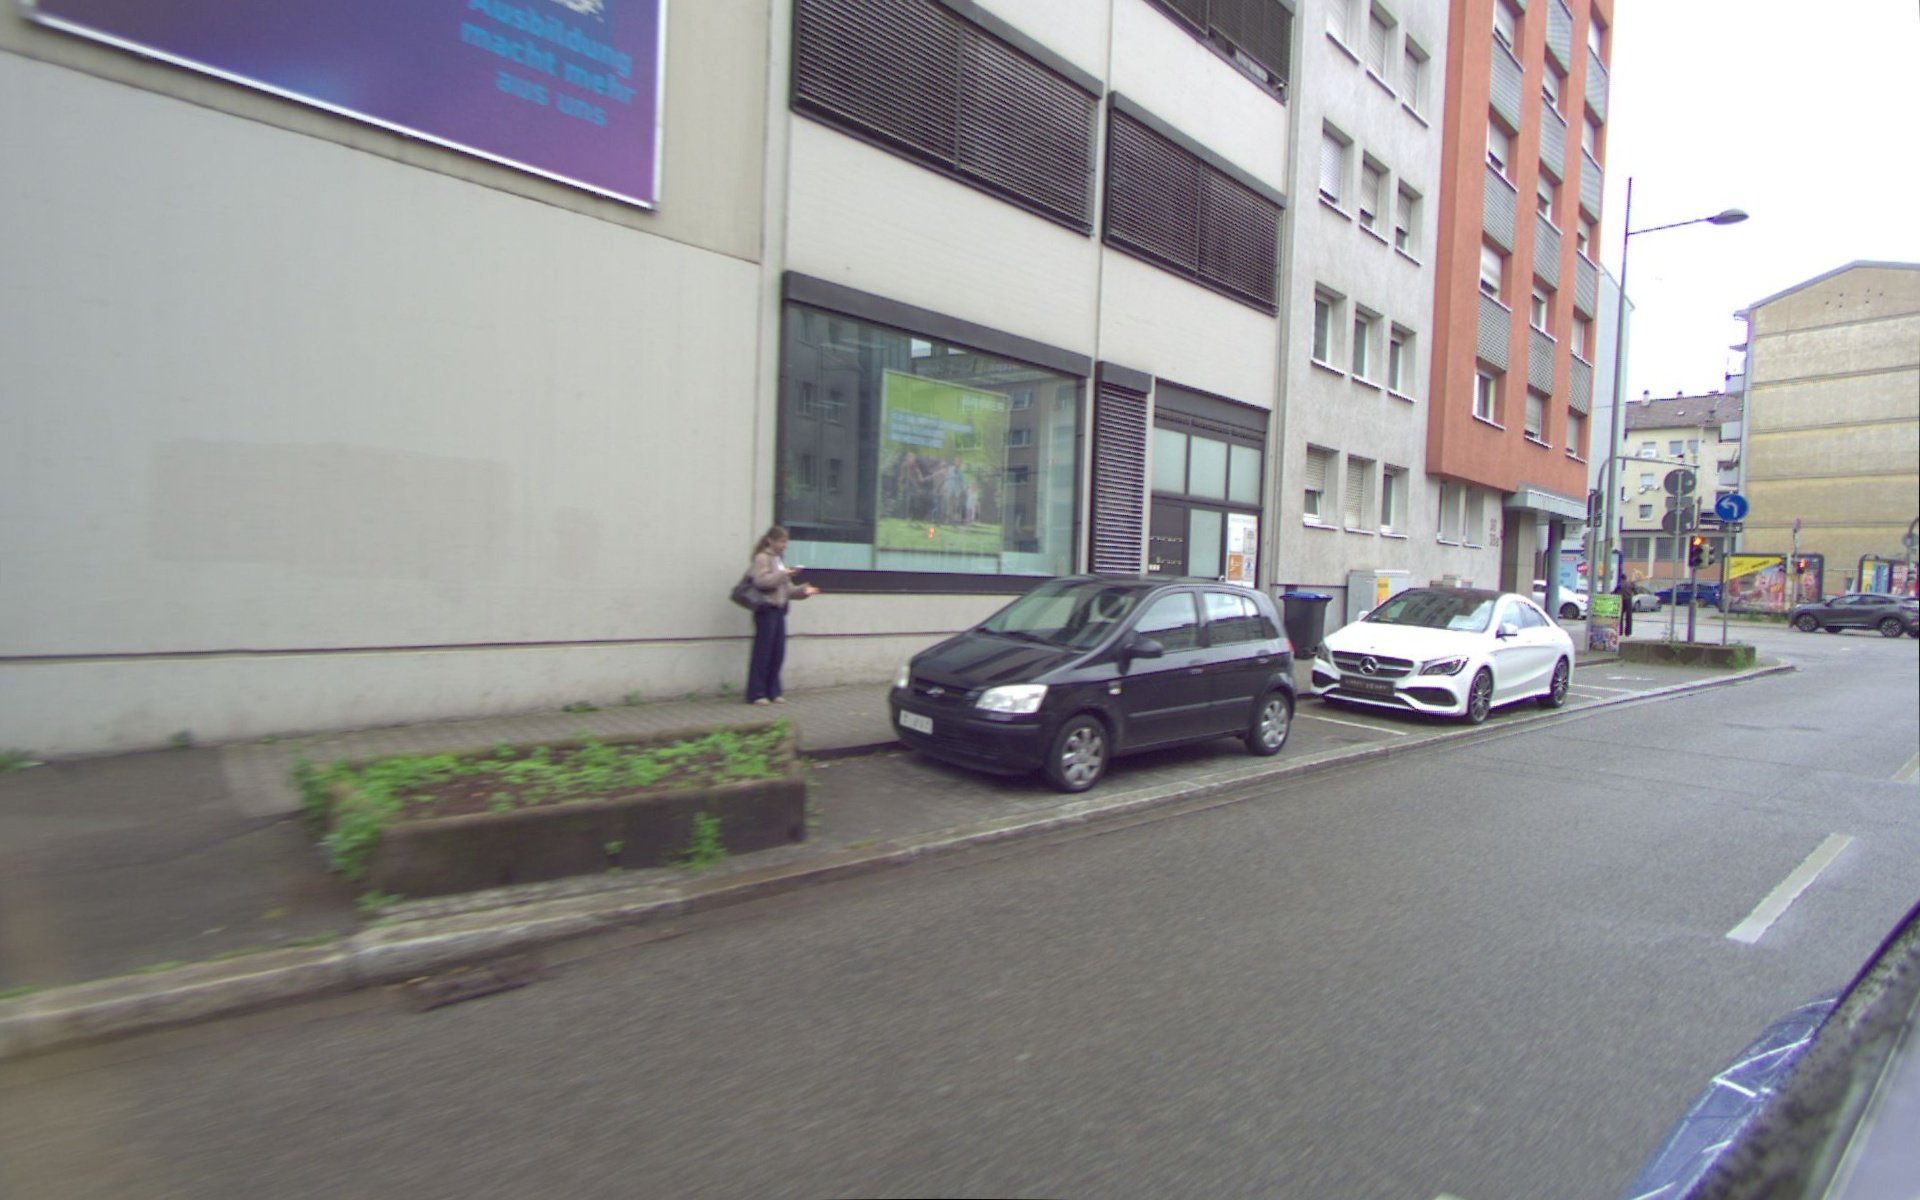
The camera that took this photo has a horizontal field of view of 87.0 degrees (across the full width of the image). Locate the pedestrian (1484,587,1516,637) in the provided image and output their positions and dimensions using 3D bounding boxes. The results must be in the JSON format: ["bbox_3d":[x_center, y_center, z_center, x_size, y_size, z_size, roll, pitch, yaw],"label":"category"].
[{"bbox_3d":[12.816,0.269,24.007,0.536,1.144,0.474,3,2,43],"label":"pedestrian"}]

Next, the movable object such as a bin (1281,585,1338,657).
[{"bbox_3d":[5.693,0.331,16.481,0.505,1.116,0.680,0,2,-42],"label":"movable object such as a bin"}]

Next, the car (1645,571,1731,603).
[{"bbox_3d":[43.520,-0.784,60.582,1.801,1.732,3.801,1,2,-21],"label":"car"}]

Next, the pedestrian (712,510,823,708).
[{"bbox_3d":[-1.738,0.065,9.138,0.598,1.679,0.681,7,5,42],"label":"pedestrian"}]

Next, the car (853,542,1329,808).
[{"bbox_3d":[1.184,0.423,8.084,3.740,1.577,1.705,0,4,-42],"label":"car"}]

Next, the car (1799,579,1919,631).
[{"bbox_3d":[32.683,0.165,35.931,1.798,1.641,4.009,1,2,-23],"label":"car"}]

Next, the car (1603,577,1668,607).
[{"bbox_3d":[36.164,-0.416,54.164,3.672,1.474,1.739,0,2,-37],"label":"car"}]

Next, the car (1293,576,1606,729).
[{"bbox_3d":[6.061,0.504,12.270,4.492,1.437,1.834,0,4,-42],"label":"car"}]

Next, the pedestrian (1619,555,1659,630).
[{"bbox_3d":[20.246,-0.221,30.183,0.797,2.179,0.732,2,2,26],"label":"pedestrian"}]

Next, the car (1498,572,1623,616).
[{"bbox_3d":[24.609,-0.280,41.564,1.802,1.641,4.000,0,3,-36],"label":"car"}]
